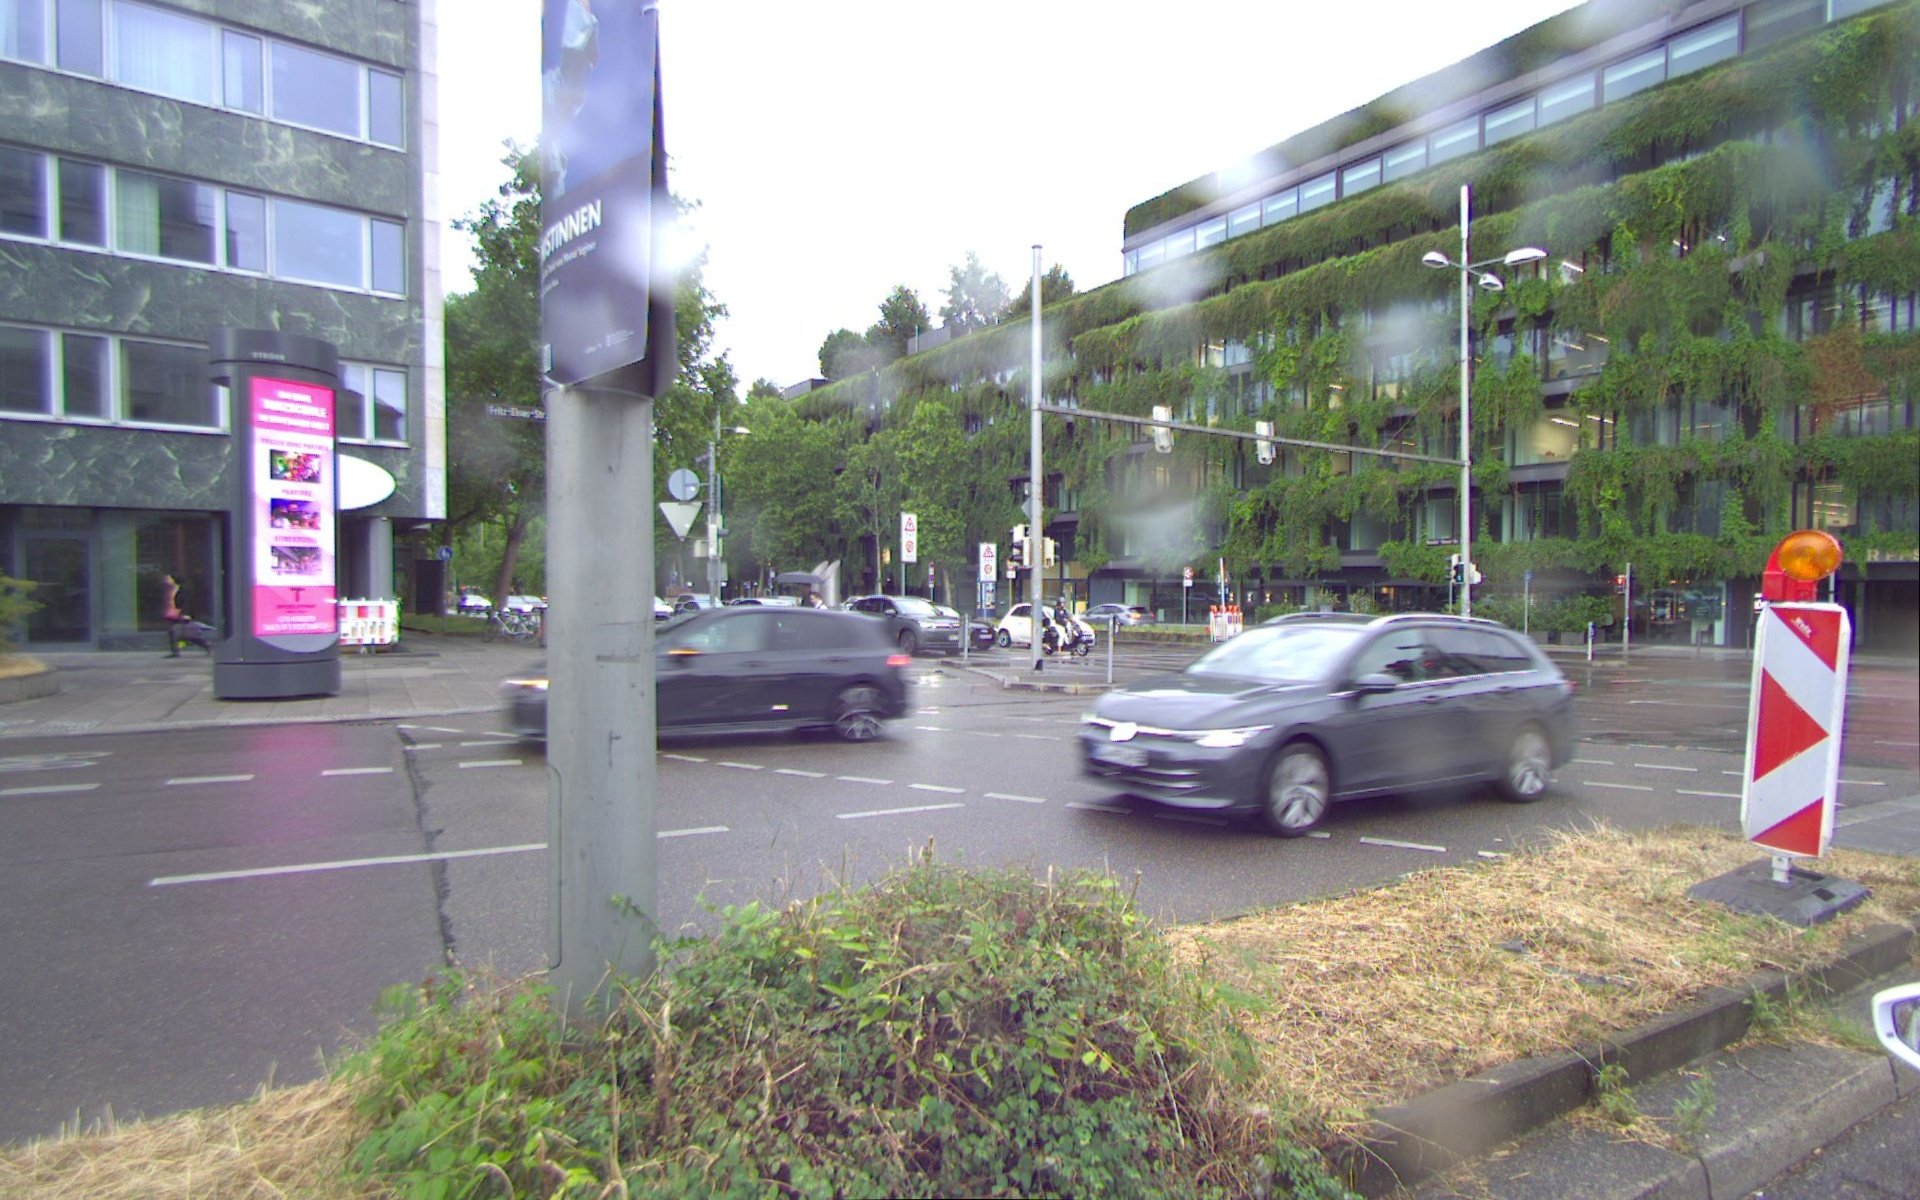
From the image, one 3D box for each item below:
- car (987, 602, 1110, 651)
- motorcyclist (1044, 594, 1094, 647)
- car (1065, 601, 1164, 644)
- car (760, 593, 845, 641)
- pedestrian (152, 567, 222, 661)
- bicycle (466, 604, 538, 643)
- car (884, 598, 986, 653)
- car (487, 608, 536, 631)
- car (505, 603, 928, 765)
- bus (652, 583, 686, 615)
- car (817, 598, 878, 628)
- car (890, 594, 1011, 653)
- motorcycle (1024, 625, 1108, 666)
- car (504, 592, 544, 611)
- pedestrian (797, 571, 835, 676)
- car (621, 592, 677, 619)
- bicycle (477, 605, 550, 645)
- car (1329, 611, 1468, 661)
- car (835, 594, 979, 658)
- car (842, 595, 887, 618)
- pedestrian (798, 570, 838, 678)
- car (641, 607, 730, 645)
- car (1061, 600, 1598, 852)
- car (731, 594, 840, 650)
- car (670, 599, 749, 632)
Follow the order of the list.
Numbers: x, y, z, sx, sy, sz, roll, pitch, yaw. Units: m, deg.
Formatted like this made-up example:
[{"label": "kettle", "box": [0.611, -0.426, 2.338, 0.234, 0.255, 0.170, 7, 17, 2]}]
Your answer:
[{"label": "car", "box": [2.890, 0.855, 33.475, 1.981, 1.495, 3.958, 1, 0, -37]}, {"label": "motorcyclist", "box": [3.151, 0.580, 29.002, 1.153, 1.492, 0.832, 2, 0, 40]}, {"label": "car", "box": [6.725, 0.961, 43.978, 1.840, 1.692, 3.946, 2, 0, -45]}, {"label": "car", "box": [-6.275, 0.645, 39.679, 1.841, 1.791, 4.139, 1, 0, -32]}, {"label": "pedestrian", "box": [-15.020, 0.270, 19.553, 1.022, 1.757, 1.195, 2, 0, -37]}, {"label": "bicycle", "box": [-12.959, 0.662, 28.421, 1.765, 1.066, 0.581, 1, 0, -35]}, {"label": "car", "box": [-0.994, 0.911, 37.773, 1.978, 1.923, 4.139, 1, 0, -33]}, {"label": "car", "box": [-28.626, 1.229, 64.042, 1.982, 1.389, 4.131, 1, 0, -37]}, {"label": "car", "box": [-2.564, 0.762, 10.827, 4.162, 1.450, 1.680, 0, 1, -29]}, {"label": "bus", "box": [-32.005, -0.160, 110.242, 1.783, 3.385, 5.922, 2, 0, -34]}, {"label": "car", "box": [-6.607, 0.726, 58.840, 1.834, 1.692, 3.958, 1, 0, -37]}, {"label": "car", "box": [-0.374, 0.707, 32.555, 1.981, 1.773, 3.958, 1, 0, -37]}, {"label": "motorcycle", "box": [3.047, 1.296, 29.079, 2.331, 1.068, 0.830, 2, 0, 41]}, {"label": "car", "box": [-35.447, 0.122, 81.625, 1.919, 1.544, 4.054, 1, 0, -40]}, {"label": "pedestrian", "box": [-2.863, 0.462, 19.959, 0.715, 2.040, 0.598, 1, 0, -10]}, {"label": "car", "box": [-18.667, 0.328, 60.218, 1.918, 1.544, 4.057, 1, 0, -38]}, {"label": "bicycle", "box": [-12.281, 0.677, 27.643, 1.765, 1.066, 0.581, 1, 0, -35]}, {"label": "car", "box": [16.410, 1.306, 37.752, 1.985, 1.660, 4.364, 2, 0, -42]}, {"label": "car", "box": [-1.611, 0.700, 29.195, 1.984, 1.709, 4.314, 1, 0, -41]}, {"label": "car", "box": [-7.351, 0.486, 77.256, 1.783, 1.588, 3.962, 2, 0, -34]}, {"label": "pedestrian", "box": [-2.748, 0.453, 19.346, 0.715, 2.040, 0.598, 1, 0, -10]}, {"label": "car", "box": [-10.884, 1.001, 39.634, 1.982, 1.389, 4.131, 1, 0, -37]}, {"label": "car", "box": [3.026, 0.834, 7.973, 4.241, 1.530, 1.679, 2, 0, -30]}, {"label": "car", "box": [-5.952, 0.697, 33.981, 1.982, 1.773, 3.956, 1, 0, -38]}, {"label": "car", "box": [-11.327, 0.688, 45.300, 1.982, 1.389, 4.131, 1, 0, -37]}]
